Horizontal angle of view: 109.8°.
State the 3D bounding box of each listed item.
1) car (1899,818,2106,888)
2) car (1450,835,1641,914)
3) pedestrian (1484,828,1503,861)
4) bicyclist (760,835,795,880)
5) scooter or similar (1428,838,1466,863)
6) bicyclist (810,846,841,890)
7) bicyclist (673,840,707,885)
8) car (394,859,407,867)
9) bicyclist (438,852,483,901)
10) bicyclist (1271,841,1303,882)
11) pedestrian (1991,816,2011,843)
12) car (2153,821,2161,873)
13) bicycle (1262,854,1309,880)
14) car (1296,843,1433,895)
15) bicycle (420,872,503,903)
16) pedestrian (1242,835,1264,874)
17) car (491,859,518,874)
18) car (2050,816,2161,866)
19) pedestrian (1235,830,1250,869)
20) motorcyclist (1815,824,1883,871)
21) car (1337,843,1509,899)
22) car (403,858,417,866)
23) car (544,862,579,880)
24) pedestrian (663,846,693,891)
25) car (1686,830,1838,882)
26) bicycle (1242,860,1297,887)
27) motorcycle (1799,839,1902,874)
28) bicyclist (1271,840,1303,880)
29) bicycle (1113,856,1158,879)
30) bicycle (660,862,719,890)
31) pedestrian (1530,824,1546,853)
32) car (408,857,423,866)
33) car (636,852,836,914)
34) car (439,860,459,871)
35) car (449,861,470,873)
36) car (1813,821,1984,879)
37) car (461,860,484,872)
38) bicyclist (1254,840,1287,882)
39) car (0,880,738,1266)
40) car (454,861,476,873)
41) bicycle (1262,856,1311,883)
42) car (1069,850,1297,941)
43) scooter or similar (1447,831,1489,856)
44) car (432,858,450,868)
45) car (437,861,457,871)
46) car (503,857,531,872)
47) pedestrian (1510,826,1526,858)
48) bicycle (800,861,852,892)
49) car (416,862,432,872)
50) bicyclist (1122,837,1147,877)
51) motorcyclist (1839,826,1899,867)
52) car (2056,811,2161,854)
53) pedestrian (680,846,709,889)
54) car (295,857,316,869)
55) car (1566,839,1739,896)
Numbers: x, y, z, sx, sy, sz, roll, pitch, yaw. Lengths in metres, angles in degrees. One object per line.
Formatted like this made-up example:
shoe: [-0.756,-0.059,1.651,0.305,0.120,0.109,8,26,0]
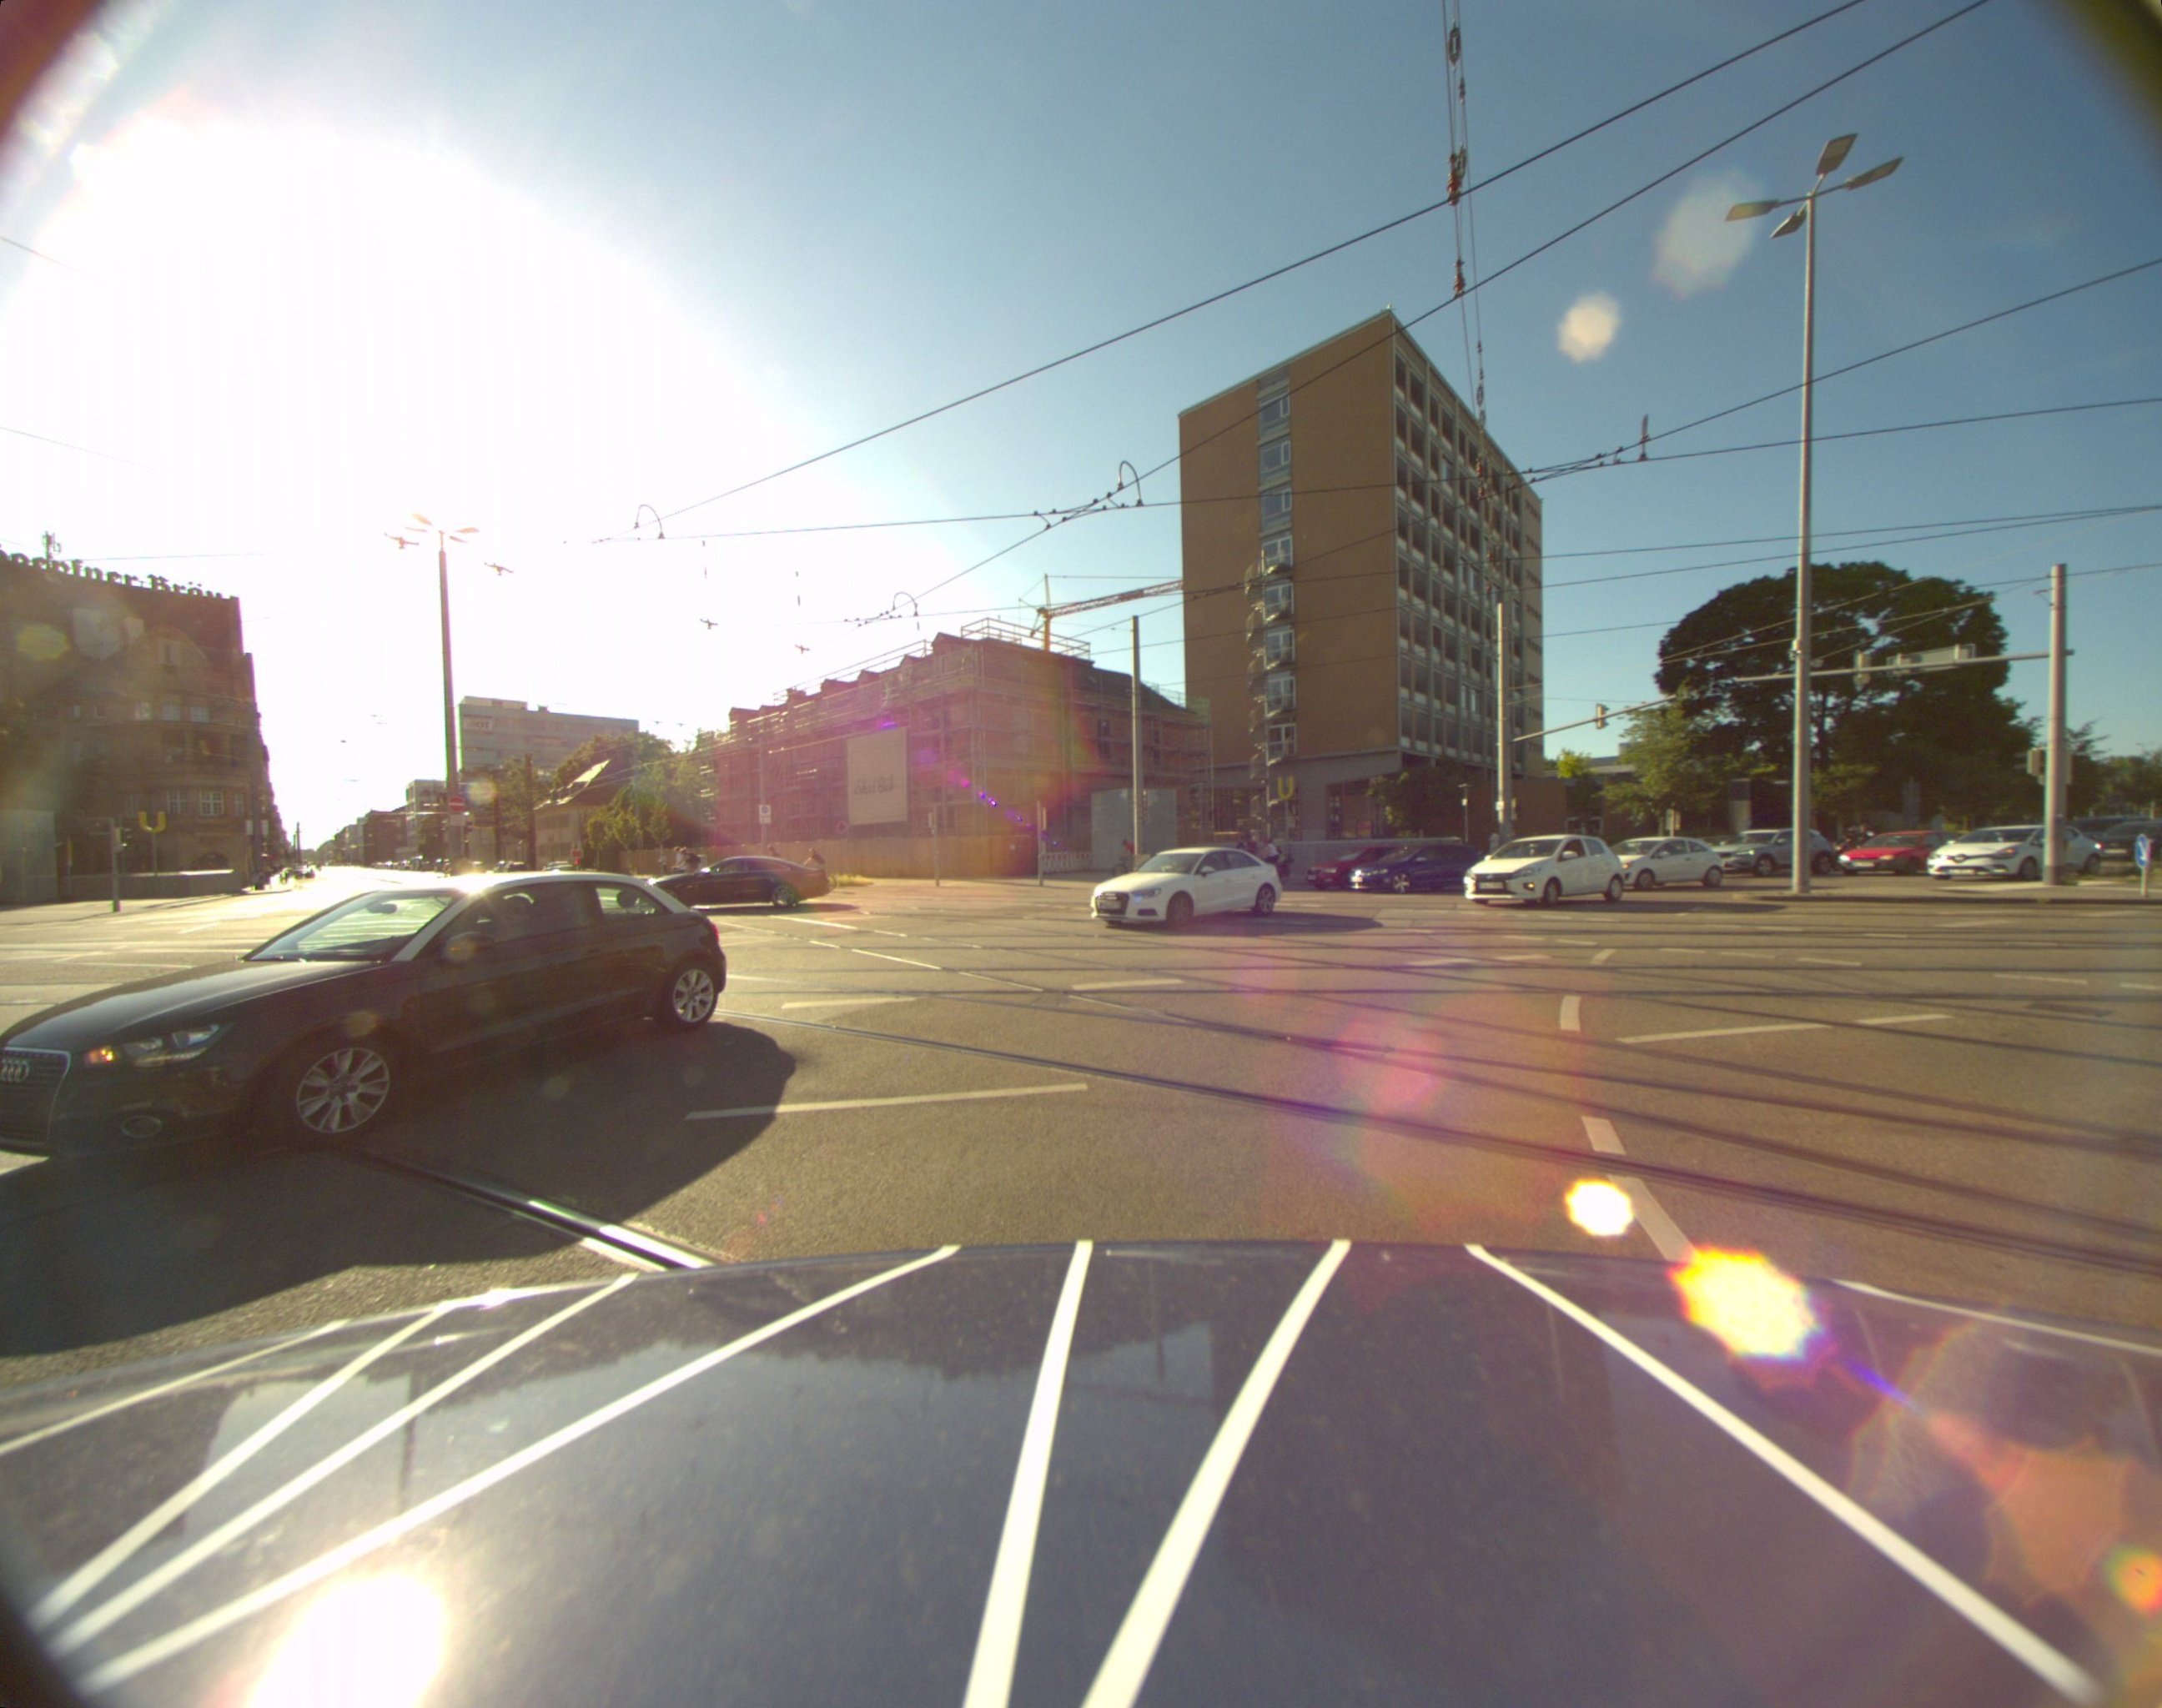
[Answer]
car: [24.832,-0.068,20.516,4.285,1.667,1.997,-2,2,-16]
car: [10.018,0.385,16.372,3.876,1.483,1.718,-1,0,-27]
pedestrian: [21.301,-0.487,39.230,0.624,1.701,0.486,-2,-1,1]
bicyclist: [-10.894,0.127,27.277,0.974,1.559,0.648,-2,-1,-3]
scooter or similar: [19.248,-0.183,39.946,1.703,1.239,0.801,-3,-1,29]
bicyclist: [-9.765,0.540,29.093,0.975,1.651,0.648,-2,-1,-9]
bicyclist: [-15.154,0.328,29.475,0.975,1.685,0.648,-1,0,-9]
car: [-149.798,2.024,167.155,4.008,1.455,1.760,-3,1,44]
bicyclist: [-21.821,0.783,26.743,0.976,1.685,0.767,-1,0,-20]
bicyclist: [8.260,0.274,30.502,1.018,1.579,0.692,-2,5,-26]
pedestrian: [56.455,-1.508,46.630,0.593,1.651,0.565,-2,-1,-19]
car: [36.943,-0.263,24.273,4.287,1.667,1.996,-2,2,-20]
bicycle: [8.550,0.533,31.695,1.882,0.965,0.710,-2,5,-27]
car: [9.549,0.476,25.676,4.021,1.455,1.754,-3,1,-16]
bicycle: [-21.783,1.163,26.748,2.107,1.021,0.767,-1,0,-20]
pedestrian: [7.685,0.017,33.889,0.734,1.730,0.621,-2,3,-23]
car: [-65.047,1.404,85.668,4.008,1.455,1.760,-3,1,44]
car: [38.684,-0.477,28.144,4.002,1.673,1.998,-2,-1,-15]
pedestrian: [7.135,-0.205,33.529,0.621,1.730,0.666,0,3,9]
motorcyclist: [28.649,-0.236,28.367,1.455,1.657,1.117,-2,-1,-12]
car: [10.342,0.477,23.053,4.656,1.484,1.815,-2,1,-14]
car: [-137.753,1.744,156.017,4.008,1.455,1.760,-3,1,44]
car: [-46.956,1.506,68.608,4.008,1.455,1.760,-3,1,44]
pedestrian: [-17.009,0.621,32.072,0.818,1.837,0.692,-2,-1,13]
car: [23.435,0.053,26.204,4.001,1.597,1.997,-2,1,-14]
bicycle: [7.230,0.734,29.169,1.880,0.965,0.711,-1,4,-11]
motorcycle: [28.724,0.086,28.382,3.233,1.188,1.117,-2,-1,-12]
bicyclist: [8.596,0.243,31.714,1.018,1.579,0.692,-2,5,-26]
bicycle: [2.331,0.576,32.744,1.878,0.965,0.711,0,4,1]
bicycle: [-15.184,0.839,29.476,1.907,1.021,0.648,-1,0,-9]
pedestrian: [26.130,-0.888,43.435,0.505,1.625,0.572,-1,-1,-26]
car: [-126.137,1.406,143.950,4.008,1.455,1.760,-3,1,44]
car: [-9.249,0.737,20.786,4.655,1.484,1.815,-1,3,-12]
car: [-92.882,1.643,111.671,4.008,1.455,1.760,-3,1,44]
car: [-86.957,1.814,106.266,4.008,1.455,1.760,-3,1,44]
car: [25.988,-0.115,24.198,4.002,1.673,1.998,-2,-1,-15]
car: [-79.173,1.591,98.878,4.008,1.455,1.760,-3,1,44]
bicyclist: [7.262,0.255,29.135,1.017,1.579,0.693,-1,5,-11]
car: [-4.456,0.986,5.199,1.692,1.380,3.836,-1,1,16]
car: [-83.259,1.813,102.745,4.008,1.455,1.760,-3,1,44]
bicycle: [8.243,0.612,30.528,1.882,0.965,0.710,-2,5,-26]
car: [2.088,0.680,14.757,4.465,1.380,1.821,-3,2,-40]
scooter or similar: [20.630,-0.561,40.556,1.826,1.239,0.801,-2,-1,15]
car: [-102.670,1.421,121.887,4.008,1.455,1.760,-3,1,44]
car: [-96.209,1.840,115.277,4.008,1.455,1.760,-3,1,44]
car: [-60.701,1.164,81.721,4.008,1.455,1.760,-3,1,44]
pedestrian: [22.106,-0.600,38.400,0.505,1.625,0.427,-1,-1,-26]
bicycle: [-9.743,0.862,29.087,1.776,1.116,0.648,-2,-1,-9]
car: [-117.700,2.254,136.185,4.008,1.596,1.760,-3,1,44]
bicyclist: [2.276,0.127,32.700,1.016,1.699,0.693,0,5,0]
motorcyclist: [33.468,-0.294,32.279,1.455,1.657,1.117,-2,-1,-12]
car: [43.901,-0.908,32.316,4.003,1.718,1.820,-2,1,-19]
pedestrian: [-16.749,0.592,32.950,0.818,1.837,0.692,-2,-1,13]
car: [-137.778,1.571,135.014,3.989,2.001,2.004,-3,-2,34]
car: [16.021,0.332,21.362,3.917,1.456,1.782,-1,2,-14]
